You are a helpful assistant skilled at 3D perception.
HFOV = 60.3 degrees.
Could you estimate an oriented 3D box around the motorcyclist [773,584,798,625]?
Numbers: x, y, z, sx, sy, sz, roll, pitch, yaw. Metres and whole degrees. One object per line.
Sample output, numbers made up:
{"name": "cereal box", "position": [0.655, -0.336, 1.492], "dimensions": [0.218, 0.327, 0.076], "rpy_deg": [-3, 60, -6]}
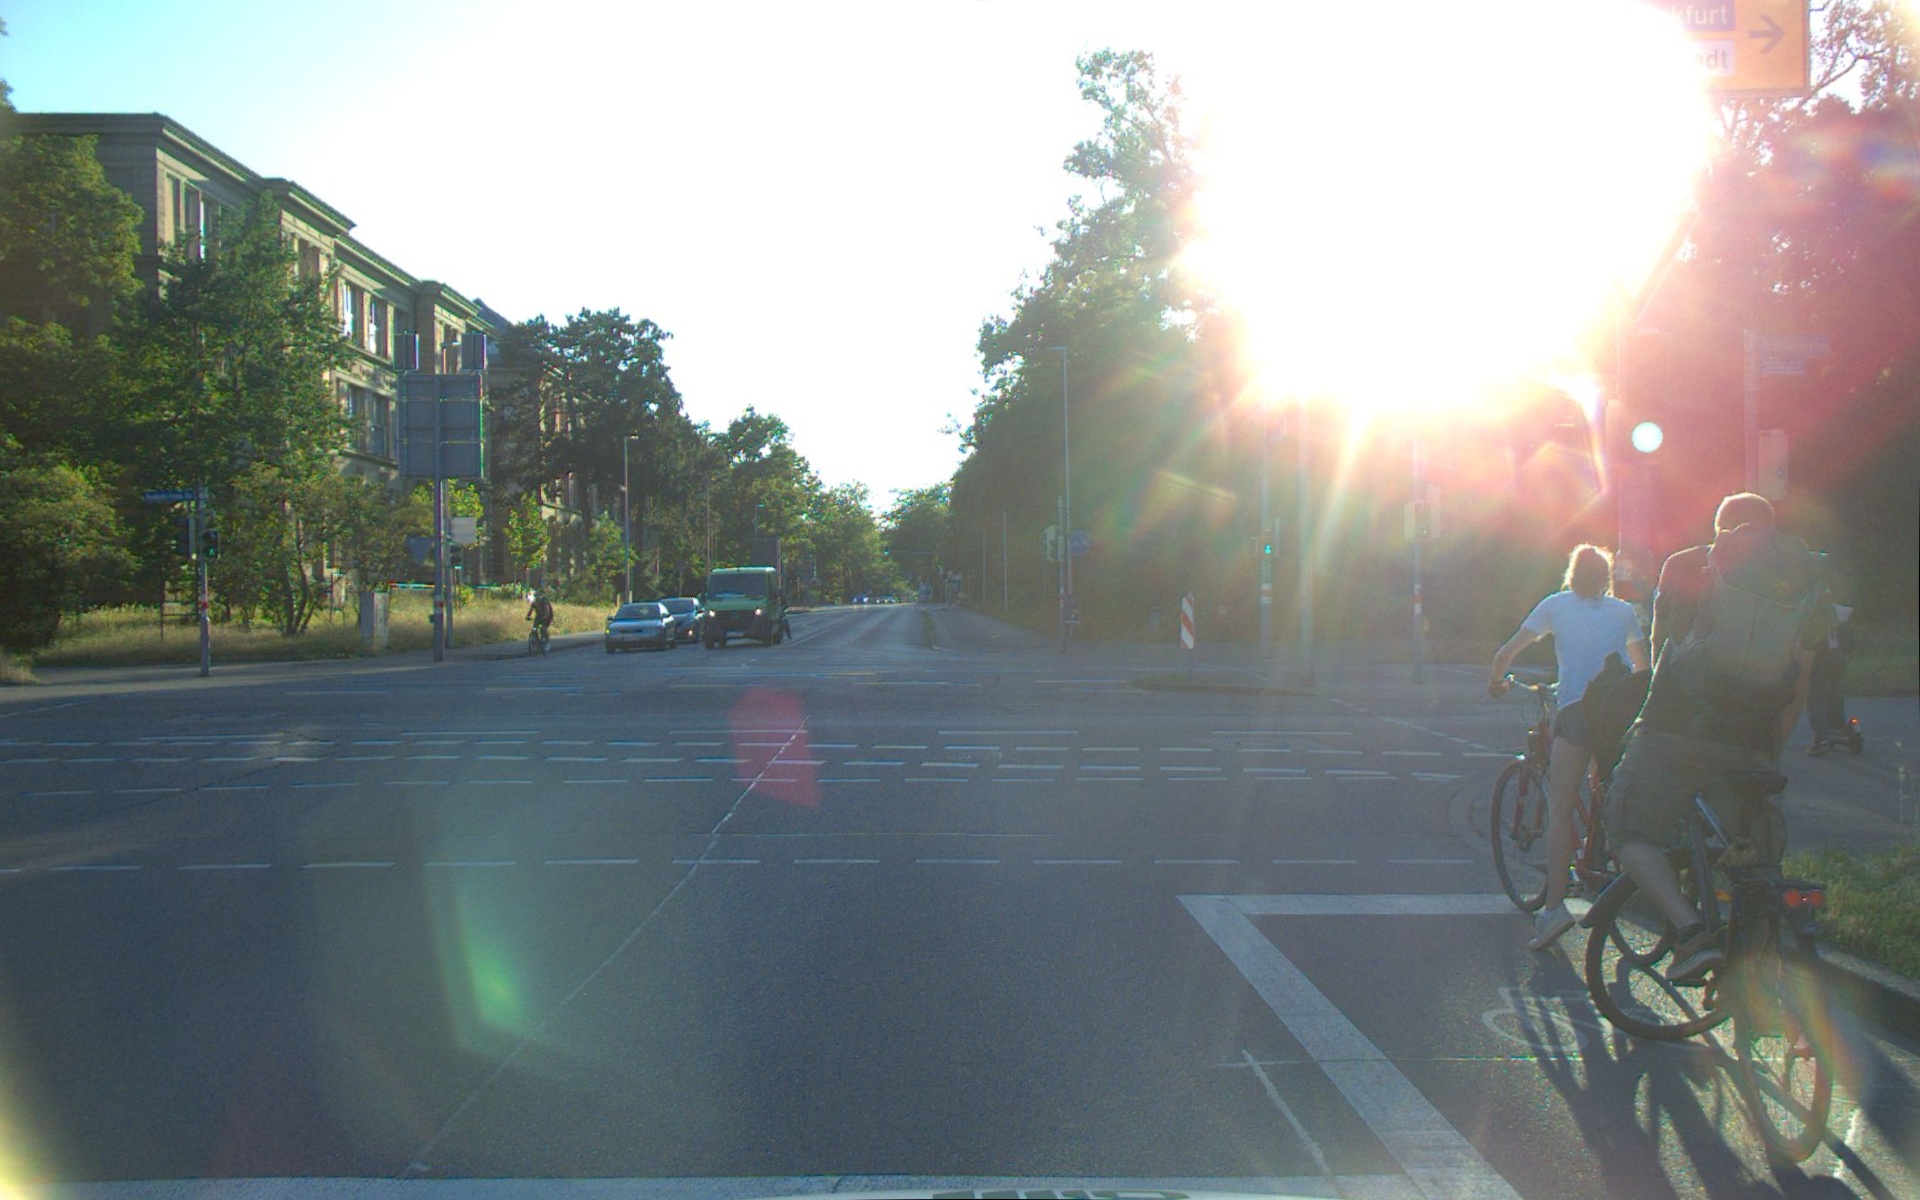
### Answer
{"name": "motorcyclist", "position": [-5.913, 0.153, 56.025], "dimensions": [0.734, 1.382, 0.704], "rpy_deg": [-1, 0, -1]}

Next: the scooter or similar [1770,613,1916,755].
{"name": "scooter or similar", "position": [7.894, 0.721, 14.846], "dimensions": [0.550, 1.210, 1.422], "rpy_deg": [0, 0, 0]}

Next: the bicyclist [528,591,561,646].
{"name": "bicyclist", "position": [-11.815, 0.532, 47.037], "dimensions": [0.669, 1.538, 0.955], "rpy_deg": [-1, 0, -1]}

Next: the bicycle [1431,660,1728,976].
{"name": "bicycle", "position": [2.681, 0.884, 7.383], "dimensions": [0.601, 1.158, 1.884], "rpy_deg": [0, 0, -1]}

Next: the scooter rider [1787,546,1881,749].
{"name": "scooter rider", "position": [7.892, 0.420, 14.950], "dimensions": [0.554, 1.797, 0.505], "rpy_deg": [-1, -1, 0]}

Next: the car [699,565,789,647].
{"name": "car", "position": [-6.505, 0.154, 50.445], "dimensions": [1.997, 2.317, 5.940], "rpy_deg": [-1, 0, -1]}

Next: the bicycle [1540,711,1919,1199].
{"name": "bicycle", "position": [2.330, 0.941, 4.995], "dimensions": [0.684, 1.081, 1.826], "rpy_deg": [0, 0, 6]}

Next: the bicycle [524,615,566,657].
{"name": "bicycle", "position": [-11.812, 1.010, 47.129], "dimensions": [0.672, 1.143, 2.168], "rpy_deg": [-1, 0, -1]}

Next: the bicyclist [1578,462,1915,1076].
{"name": "bicyclist", "position": [2.336, 0.464, 5.006], "dimensions": [0.683, 1.696, 0.799], "rpy_deg": [0, 0, 6]}

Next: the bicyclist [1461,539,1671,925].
{"name": "bicyclist", "position": [2.681, 0.553, 7.390], "dimensions": [0.591, 1.613, 0.909], "rpy_deg": [0, 0, -1]}

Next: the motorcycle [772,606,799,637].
{"name": "motorcycle", "position": [-5.909, 0.717, 56.029], "dimensions": [0.739, 1.019, 1.878], "rpy_deg": [-1, 0, -1]}

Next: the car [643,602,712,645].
{"name": "car", "position": [-9.532, 0.773, 56.023], "dimensions": [1.729, 1.351, 3.642], "rpy_deg": [-1, 0, -1]}

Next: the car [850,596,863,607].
{"name": "car", "position": [-13.982, 0.161, 223.506], "dimensions": [1.735, 1.500, 3.772], "rpy_deg": [-1, 0, -5]}

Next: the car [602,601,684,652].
{"name": "car", "position": [-9.429, 0.769, 49.447], "dimensions": [1.694, 1.433, 4.139], "rpy_deg": [-1, 0, -1]}

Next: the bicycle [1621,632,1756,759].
{"name": "bicycle", "position": [6.657, 0.838, 15.219], "dimensions": [0.754, 1.024, 2.018], "rpy_deg": [0, 0, 12]}

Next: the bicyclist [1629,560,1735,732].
{"name": "bicyclist", "position": [6.686, 0.410, 15.344], "dimensions": [0.743, 1.544, 0.857], "rpy_deg": [0, 0, 12]}
